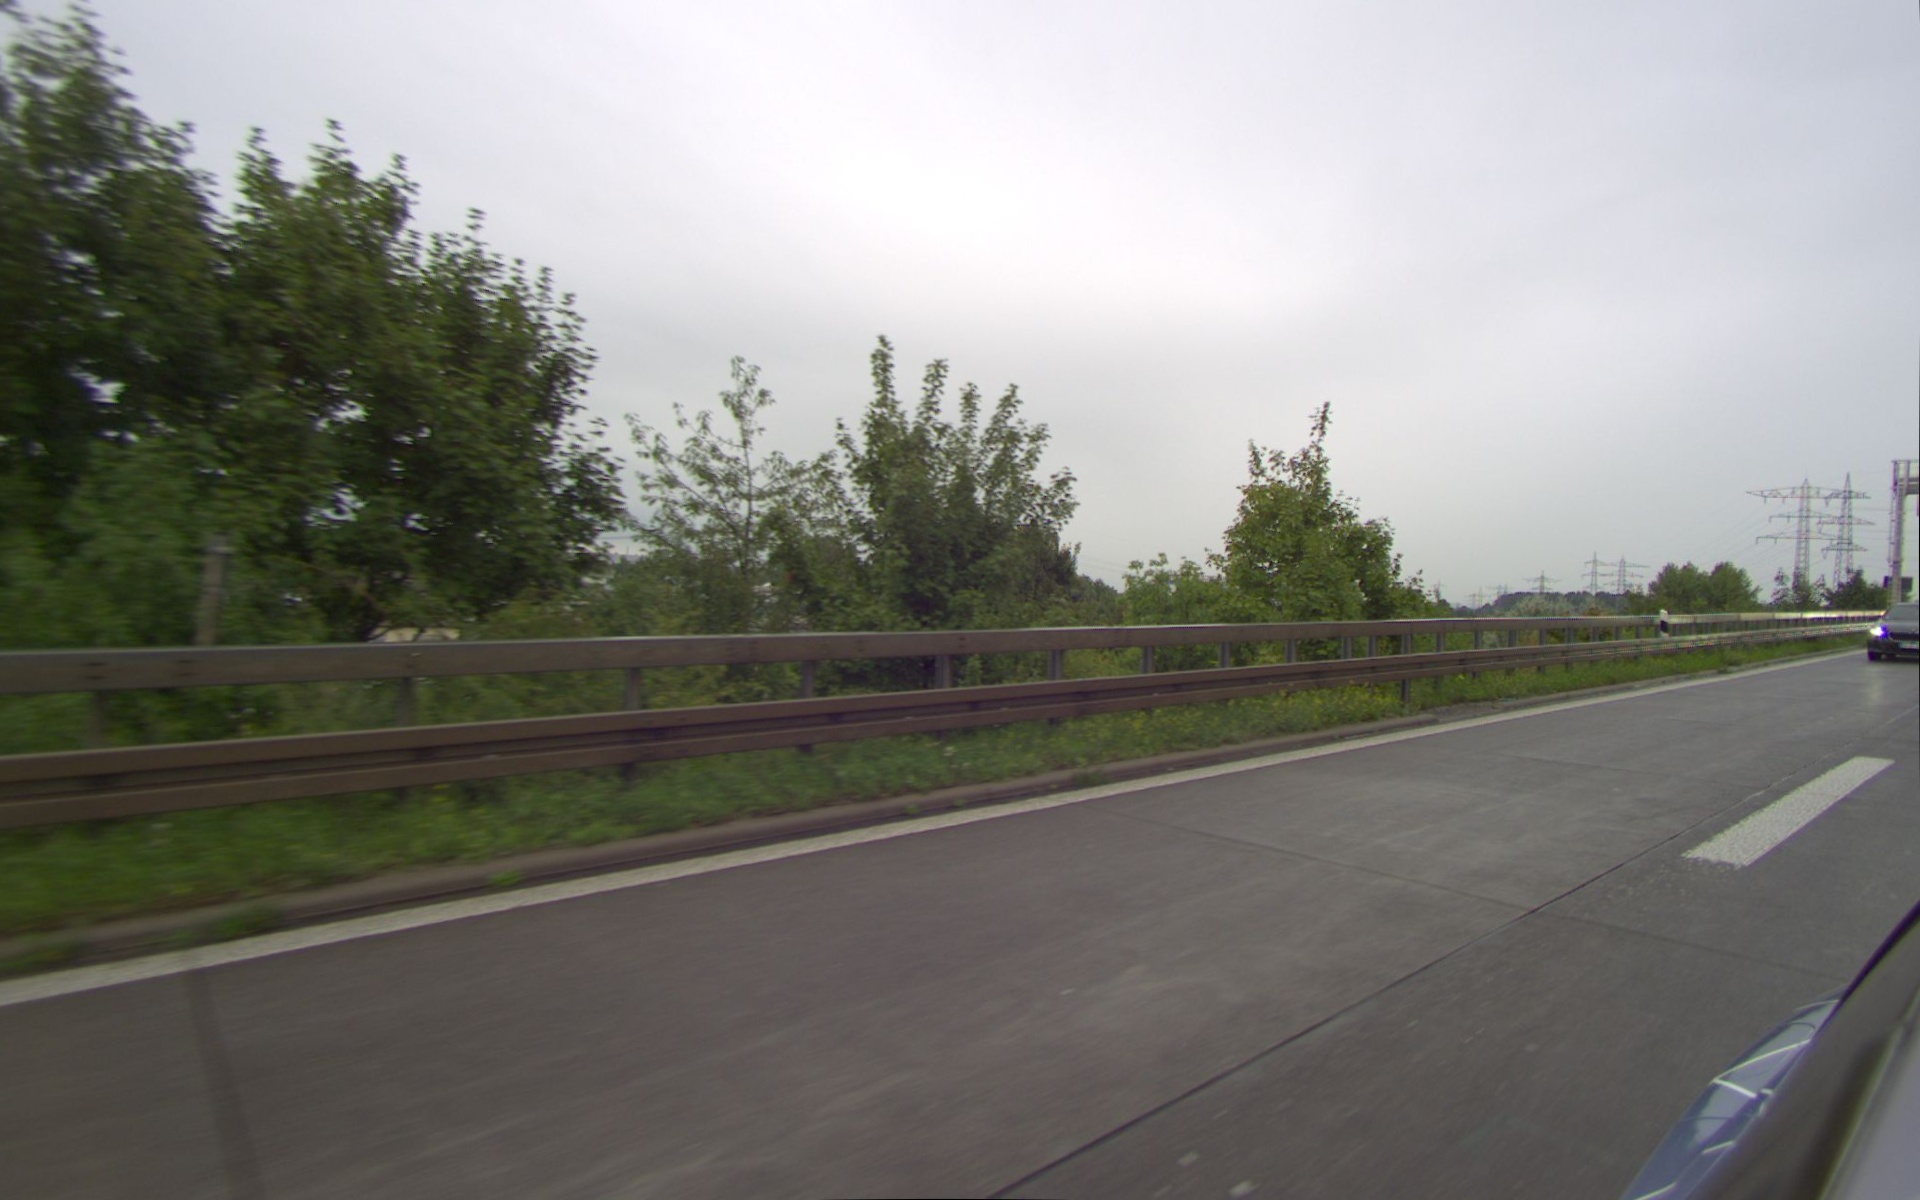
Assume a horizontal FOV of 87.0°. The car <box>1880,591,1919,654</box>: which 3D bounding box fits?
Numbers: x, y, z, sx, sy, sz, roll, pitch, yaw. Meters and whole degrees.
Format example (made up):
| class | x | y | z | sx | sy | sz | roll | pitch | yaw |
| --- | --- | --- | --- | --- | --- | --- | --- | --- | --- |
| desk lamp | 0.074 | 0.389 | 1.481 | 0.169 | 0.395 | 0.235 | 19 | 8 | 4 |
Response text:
| class | x | y | z | sx | sy | sz | roll | pitch | yaw |
| --- | --- | --- | --- | --- | --- | --- | --- | --- | --- |
| car | 25.294 | 0.592 | 26.149 | 4.130 | 1.560 | 1.860 | 1 | -1 | -42 |
